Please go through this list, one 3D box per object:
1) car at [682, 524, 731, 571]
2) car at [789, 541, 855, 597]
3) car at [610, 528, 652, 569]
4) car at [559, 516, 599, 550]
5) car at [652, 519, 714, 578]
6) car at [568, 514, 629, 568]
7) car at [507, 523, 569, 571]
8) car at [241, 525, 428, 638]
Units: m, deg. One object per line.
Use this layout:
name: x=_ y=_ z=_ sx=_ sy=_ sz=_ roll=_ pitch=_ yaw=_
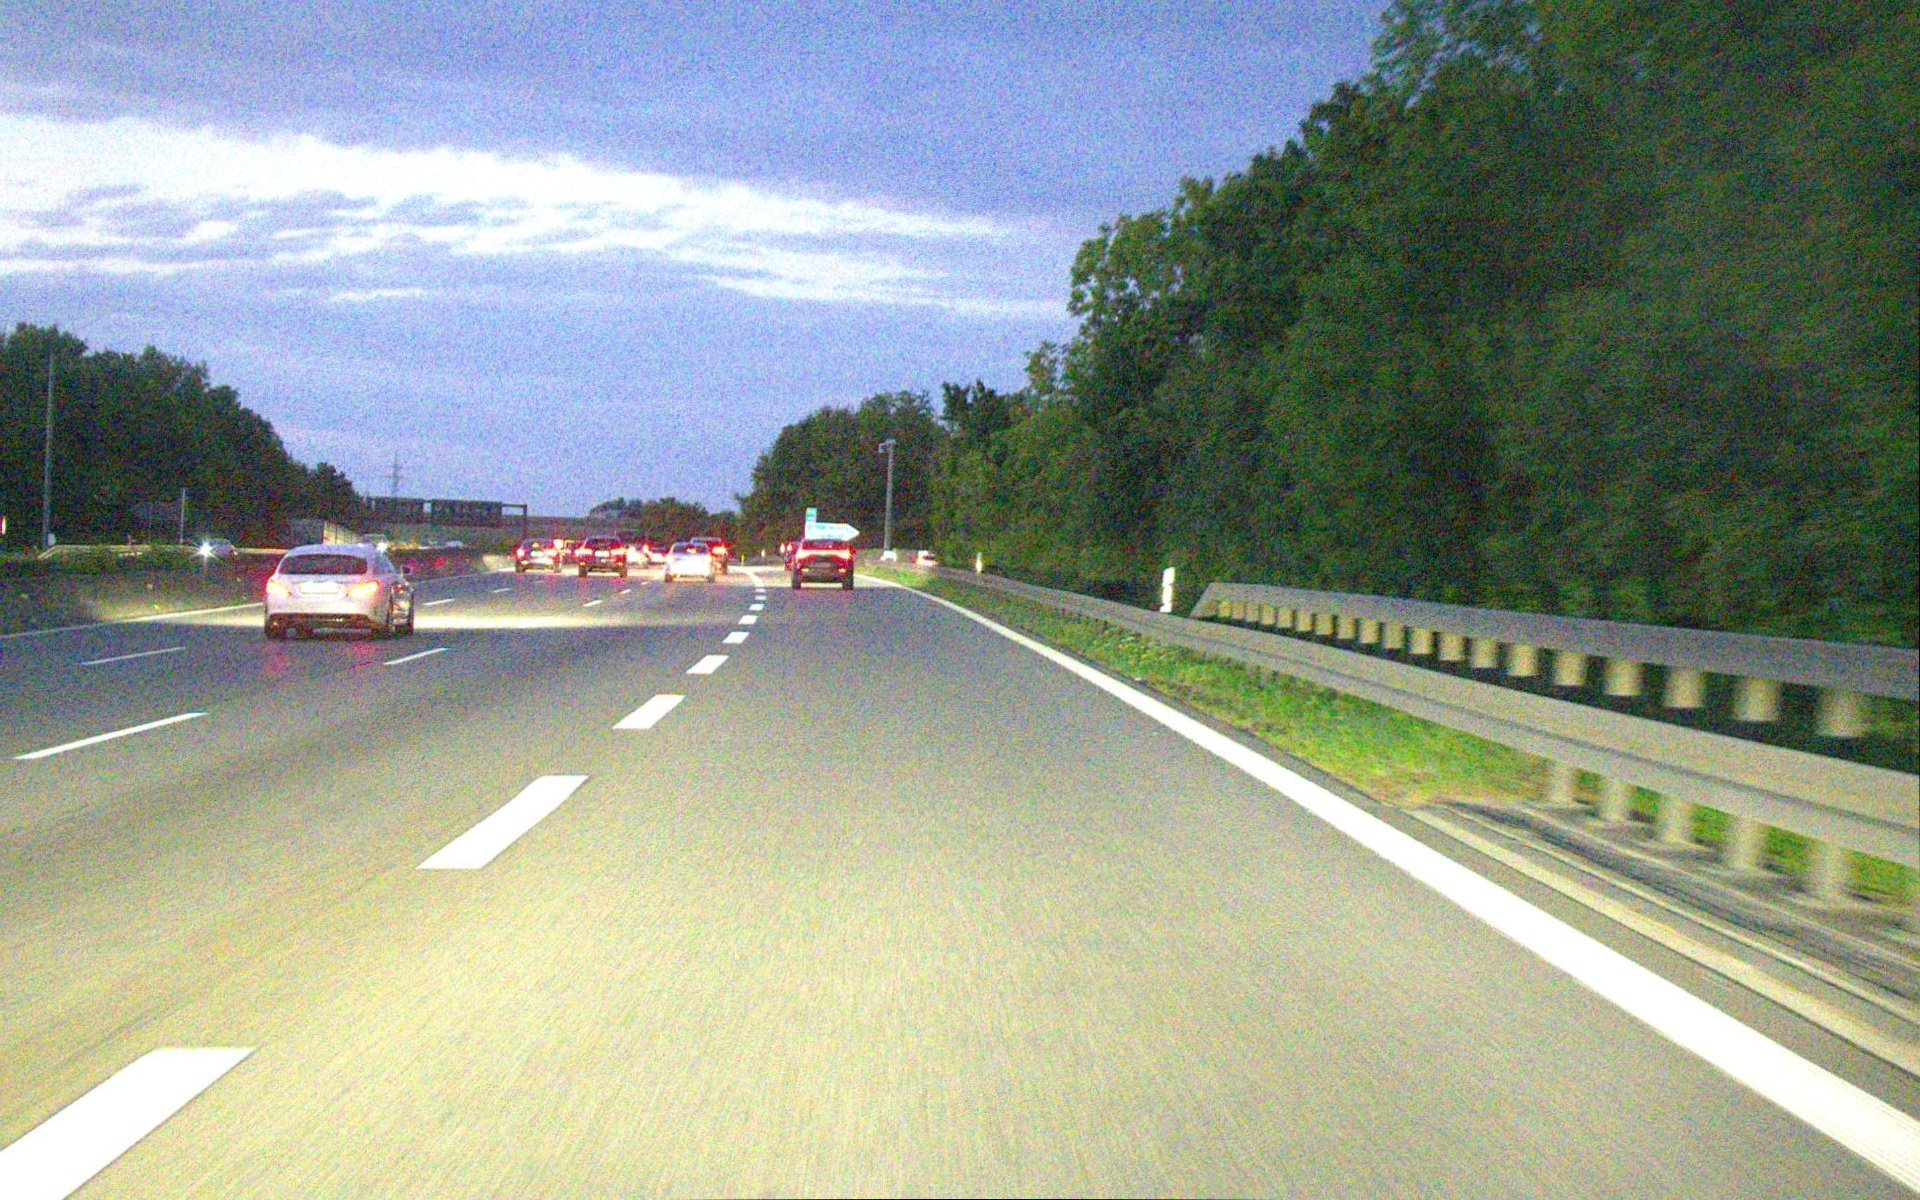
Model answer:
car: x=-10.935 y=-2.273 z=148.471 sx=1.993 sy=2.007 sz=4.001 roll=0 pitch=1 yaw=-2
car: x=-4.270 y=-0.974 z=106.117 sx=1.993 sy=1.653 sz=4.315 roll=1 pitch=1 yaw=-3
car: x=-16.691 y=-2.601 z=174.319 sx=1.993 sy=2.007 sz=4.001 roll=1 pitch=1 yaw=-6
car: x=-24.941 y=-4.395 z=225.246 sx=1.994 sy=2.006 sz=4.000 roll=5 pitch=1 yaw=1
car: x=-9.656 y=-1.800 z=120.006 sx=1.993 sy=2.007 sz=4.001 roll=1 pitch=1 yaw=-3
car: x=-13.922 y=-2.281 z=132.501 sx=2.071 sy=2.007 sz=4.001 roll=0 pitch=1 yaw=-2
car: x=-17.876 y=-2.239 z=145.780 sx=2.104 sy=2.007 sz=4.000 roll=0 pitch=1 yaw=1
car: x=-9.538 y=-0.313 z=52.741 sx=1.993 sy=1.637 sz=4.555 roll=1 pitch=1 yaw=1
